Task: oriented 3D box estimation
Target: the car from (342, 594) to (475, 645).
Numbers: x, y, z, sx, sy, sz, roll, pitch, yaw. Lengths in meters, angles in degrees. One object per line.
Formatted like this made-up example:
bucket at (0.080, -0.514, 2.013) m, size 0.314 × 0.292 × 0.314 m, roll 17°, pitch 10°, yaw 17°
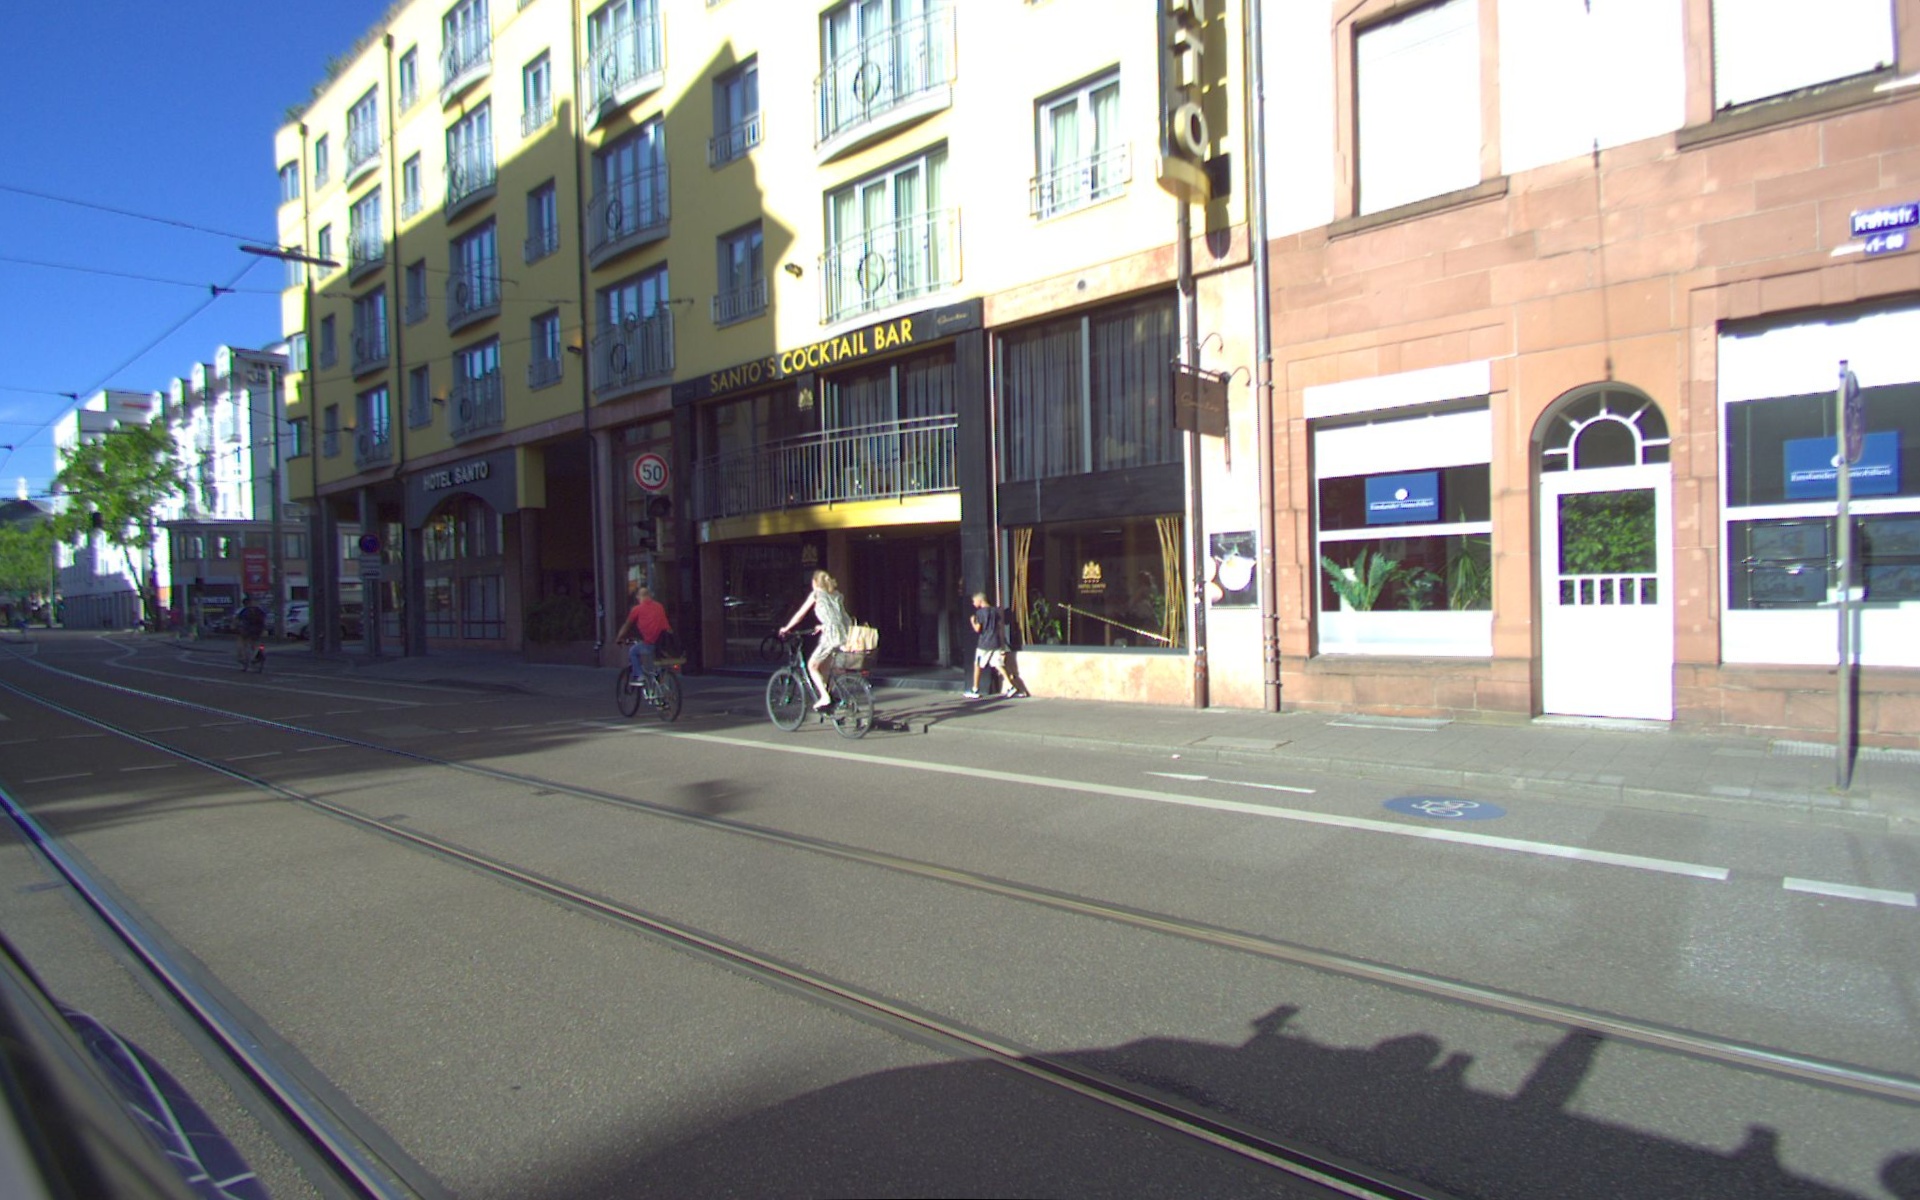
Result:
car at (-21.537, 0.722, 39.644) m, size 1.785 × 1.825 × 4.189 m, roll -1°, pitch 0°, yaw 42°

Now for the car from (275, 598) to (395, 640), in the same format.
car at (-27.789, 0.817, 45.085) m, size 1.785 × 1.621 × 4.189 m, roll -4°, pitch -1°, yaw 42°

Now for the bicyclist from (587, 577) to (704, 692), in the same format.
bicyclist at (-4.046, 0.422, 12.999) m, size 1.467 × 1.391 × 0.728 m, roll -1°, pitch 0°, yaw 40°

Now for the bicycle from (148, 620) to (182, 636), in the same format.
bicycle at (-56.127, 1.980, 71.446) m, size 1.850 × 1.085 × 0.465 m, roll -2°, pitch 0°, yaw -40°

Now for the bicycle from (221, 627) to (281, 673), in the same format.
bicycle at (-17.964, 1.238, 25.636) m, size 2.060 × 1.096 × 0.723 m, roll -1°, pitch 0°, yaw 40°

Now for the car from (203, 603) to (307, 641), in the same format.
car at (-37.386, 1.151, 53.770) m, size 1.784 × 1.776 × 4.190 m, roll -1°, pitch 1°, yaw 41°

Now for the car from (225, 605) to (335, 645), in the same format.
car at (-33.620, 1.202, 50.126) m, size 1.785 × 1.825 × 4.189 m, roll -1°, pitch 0°, yaw 42°

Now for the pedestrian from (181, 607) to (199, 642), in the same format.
pedestrian at (-37.047, 1.169, 48.701) m, size 0.499 × 1.629 × 0.566 m, roll -1°, pitch 0°, yaw 40°

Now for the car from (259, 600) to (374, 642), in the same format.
car at (-29.685, 0.927, 46.767) m, size 1.784 × 1.825 × 4.189 m, roll 1°, pitch 1°, yaw 41°

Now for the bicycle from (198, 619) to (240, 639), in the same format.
bicycle at (-41.616, 1.628, 56.875) m, size 1.847 × 1.044 × 0.427 m, roll -2°, pitch 0°, yaw -24°

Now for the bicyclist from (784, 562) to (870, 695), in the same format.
bicyclist at (-1.441, 0.299, 10.983) m, size 0.678 × 1.386 × 0.584 m, roll -1°, pitch 0°, yaw 40°

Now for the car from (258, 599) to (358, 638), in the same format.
car at (-31.427, 0.858, 48.838) m, size 1.785 × 1.685 × 3.651 m, roll -1°, pitch 1°, yaw 41°

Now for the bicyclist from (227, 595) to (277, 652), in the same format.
bicyclist at (-17.912, 0.594, 25.583) m, size 1.227 × 1.391 × 0.717 m, roll -1°, pitch 0°, yaw 40°

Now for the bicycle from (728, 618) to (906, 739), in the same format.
bicycle at (-1.605, 0.811, 11.103) m, size 2.060 × 1.192 × 0.723 m, roll -1°, pitch 0°, yaw 40°

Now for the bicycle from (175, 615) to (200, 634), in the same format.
bicycle at (-44.379, 1.431, 58.136) m, size 1.874 × 1.044 × 0.519 m, roll -2°, pitch 0°, yaw 34°

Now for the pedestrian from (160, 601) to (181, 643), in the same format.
pedestrian at (-37.527, 1.051, 48.118) m, size 0.708 × 1.961 × 0.631 m, roll -1°, pitch 0°, yaw 40°

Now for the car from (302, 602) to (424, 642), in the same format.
car at (-25.643, 0.908, 43.542) m, size 1.784 × 1.560 × 4.189 m, roll 1°, pitch 1°, yaw 41°

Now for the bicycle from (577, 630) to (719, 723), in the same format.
bicycle at (-4.024, 0.938, 12.975) m, size 2.060 × 1.073 × 0.723 m, roll -1°, pitch 0°, yaw 40°

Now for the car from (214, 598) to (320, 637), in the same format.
car at (-35.449, 0.884, 51.845) m, size 1.784 × 1.825 × 4.189 m, roll -1°, pitch 0°, yaw 41°

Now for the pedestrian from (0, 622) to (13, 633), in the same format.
pedestrian at (-87.616, 2.545, 92.974) m, size 0.747 × 0.995 × 0.784 m, roll -1°, pitch 0°, yaw 42°

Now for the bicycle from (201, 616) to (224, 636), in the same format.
bicycle at (-42.718, 1.500, 57.805) m, size 1.874 × 1.088 × 0.459 m, roll -2°, pitch 0°, yaw 34°

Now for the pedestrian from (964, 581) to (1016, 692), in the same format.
pedestrian at (0.394, 0.465, 13.186) m, size 0.516 × 1.421 × 0.399 m, roll -1°, pitch 0°, yaw 41°

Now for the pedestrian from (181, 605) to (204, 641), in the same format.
pedestrian at (-38.588, 1.131, 50.882) m, size 0.778 × 1.777 × 0.707 m, roll -1°, pitch 0°, yaw 33°
